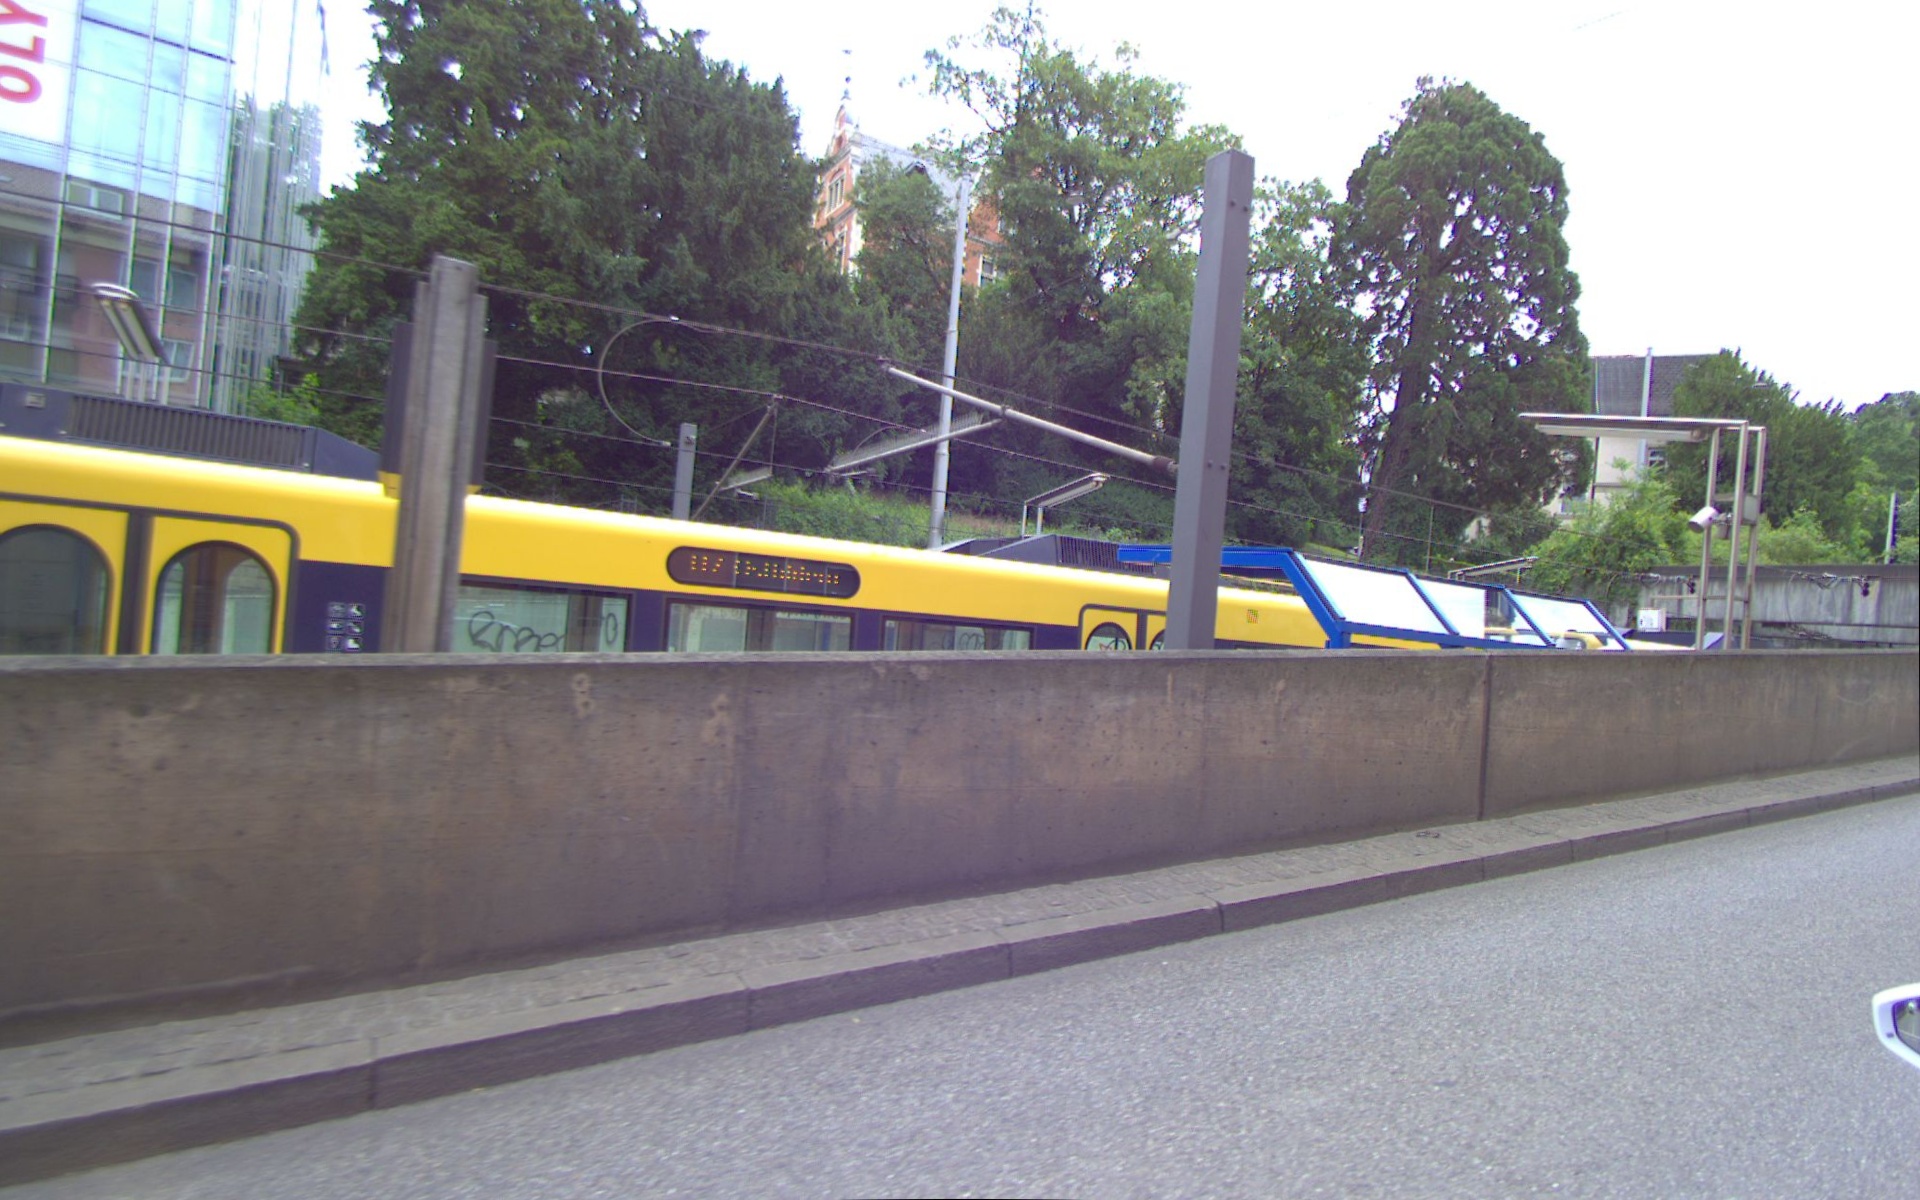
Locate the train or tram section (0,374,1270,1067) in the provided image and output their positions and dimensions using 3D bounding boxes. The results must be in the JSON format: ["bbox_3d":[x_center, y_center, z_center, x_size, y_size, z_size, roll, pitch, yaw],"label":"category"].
[{"bbox_3d":[-2.963,0.786,7.979,12.080,3.529,2.934,4,-1,-31],"label":"train or tram section"}]

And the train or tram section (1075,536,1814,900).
[{"bbox_3d":[7.711,1.447,14.415,12.839,3.555,2.934,3,-1,-31],"label":"train or tram section"}]
